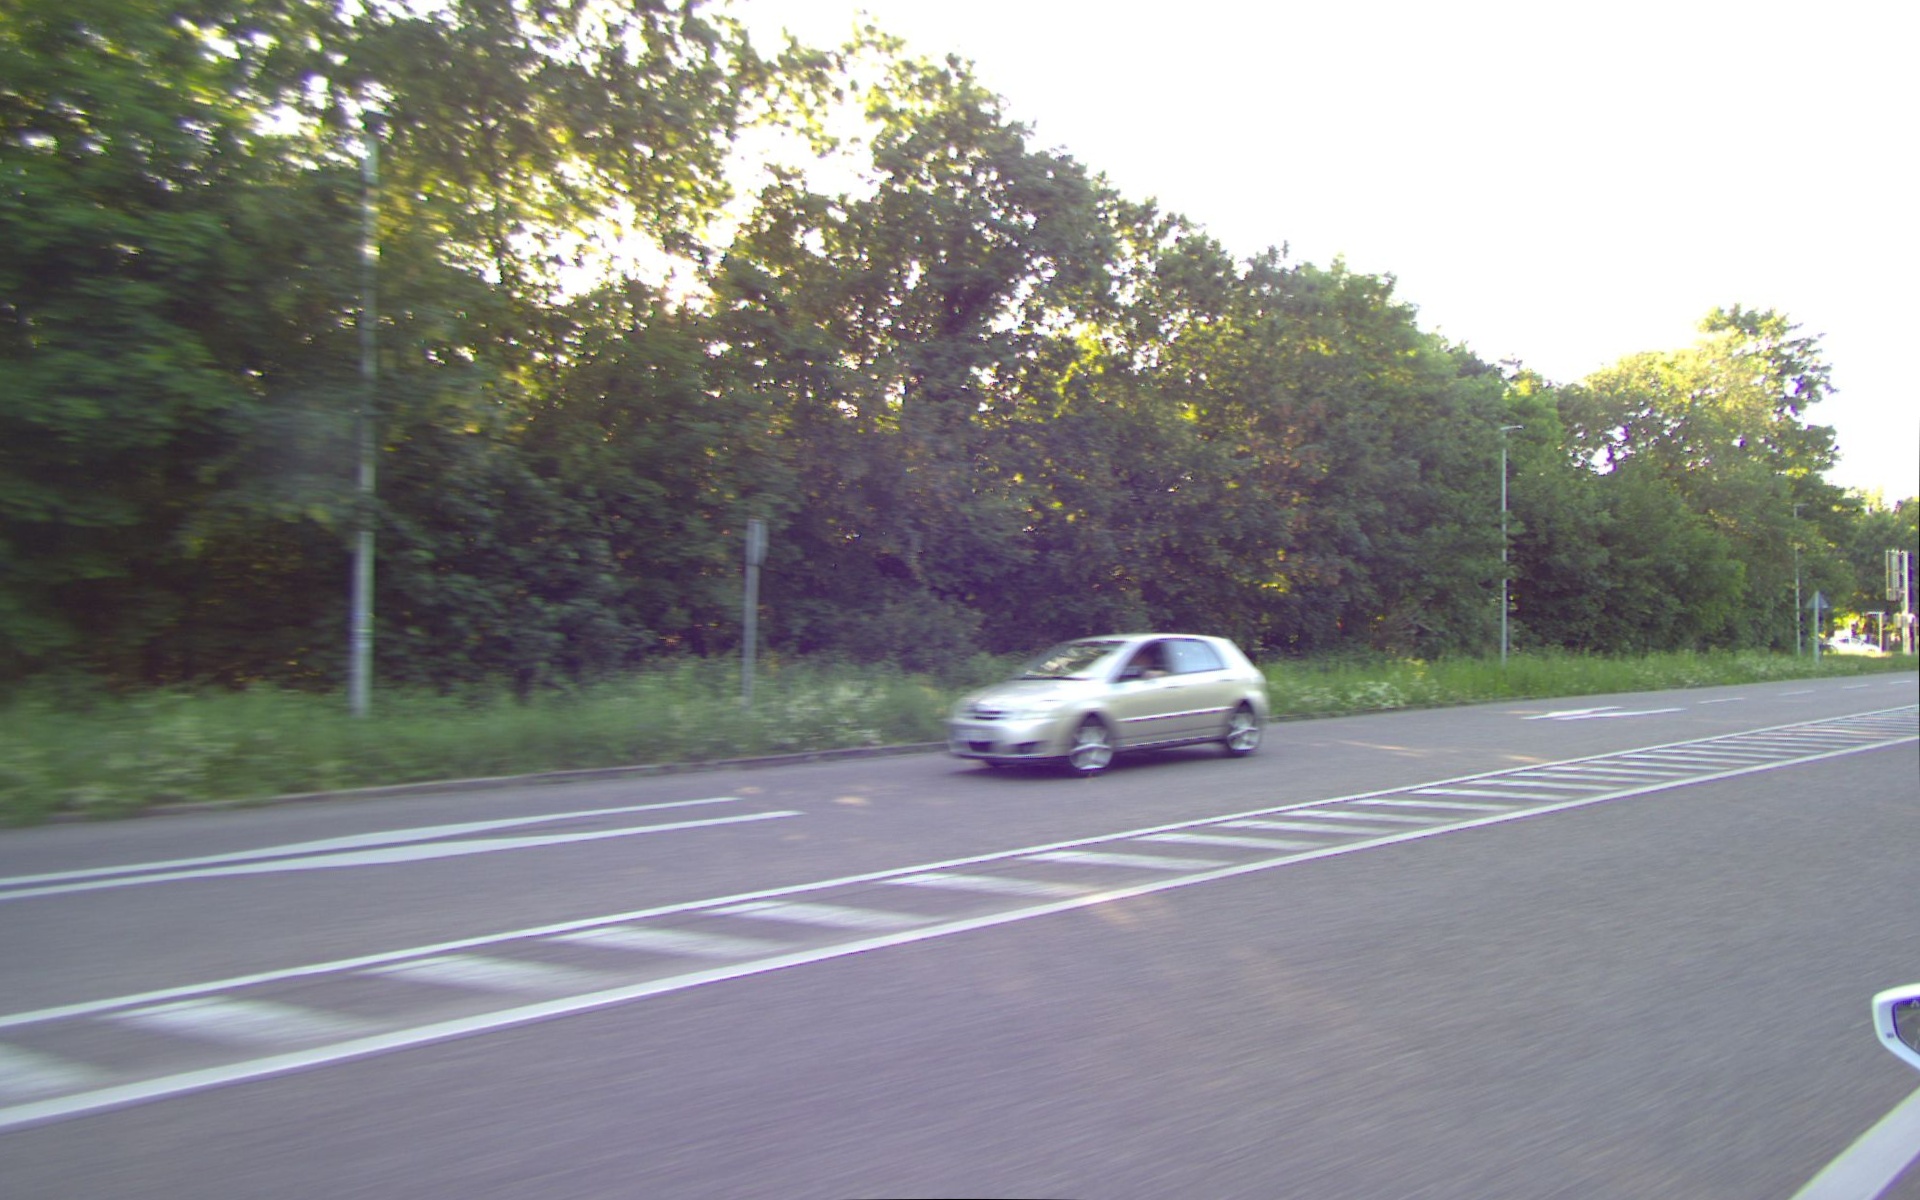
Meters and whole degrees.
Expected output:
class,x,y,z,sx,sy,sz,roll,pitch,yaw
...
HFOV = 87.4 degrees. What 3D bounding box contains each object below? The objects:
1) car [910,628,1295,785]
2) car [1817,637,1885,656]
class,x,y,z,sx,sy,sz,roll,pitch,yaw
car,1.761,1.110,11.573,4.441,1.474,1.815,2,-4,-38
car,70.847,3.691,79.960,3.733,1.407,1.924,-1,-2,31
